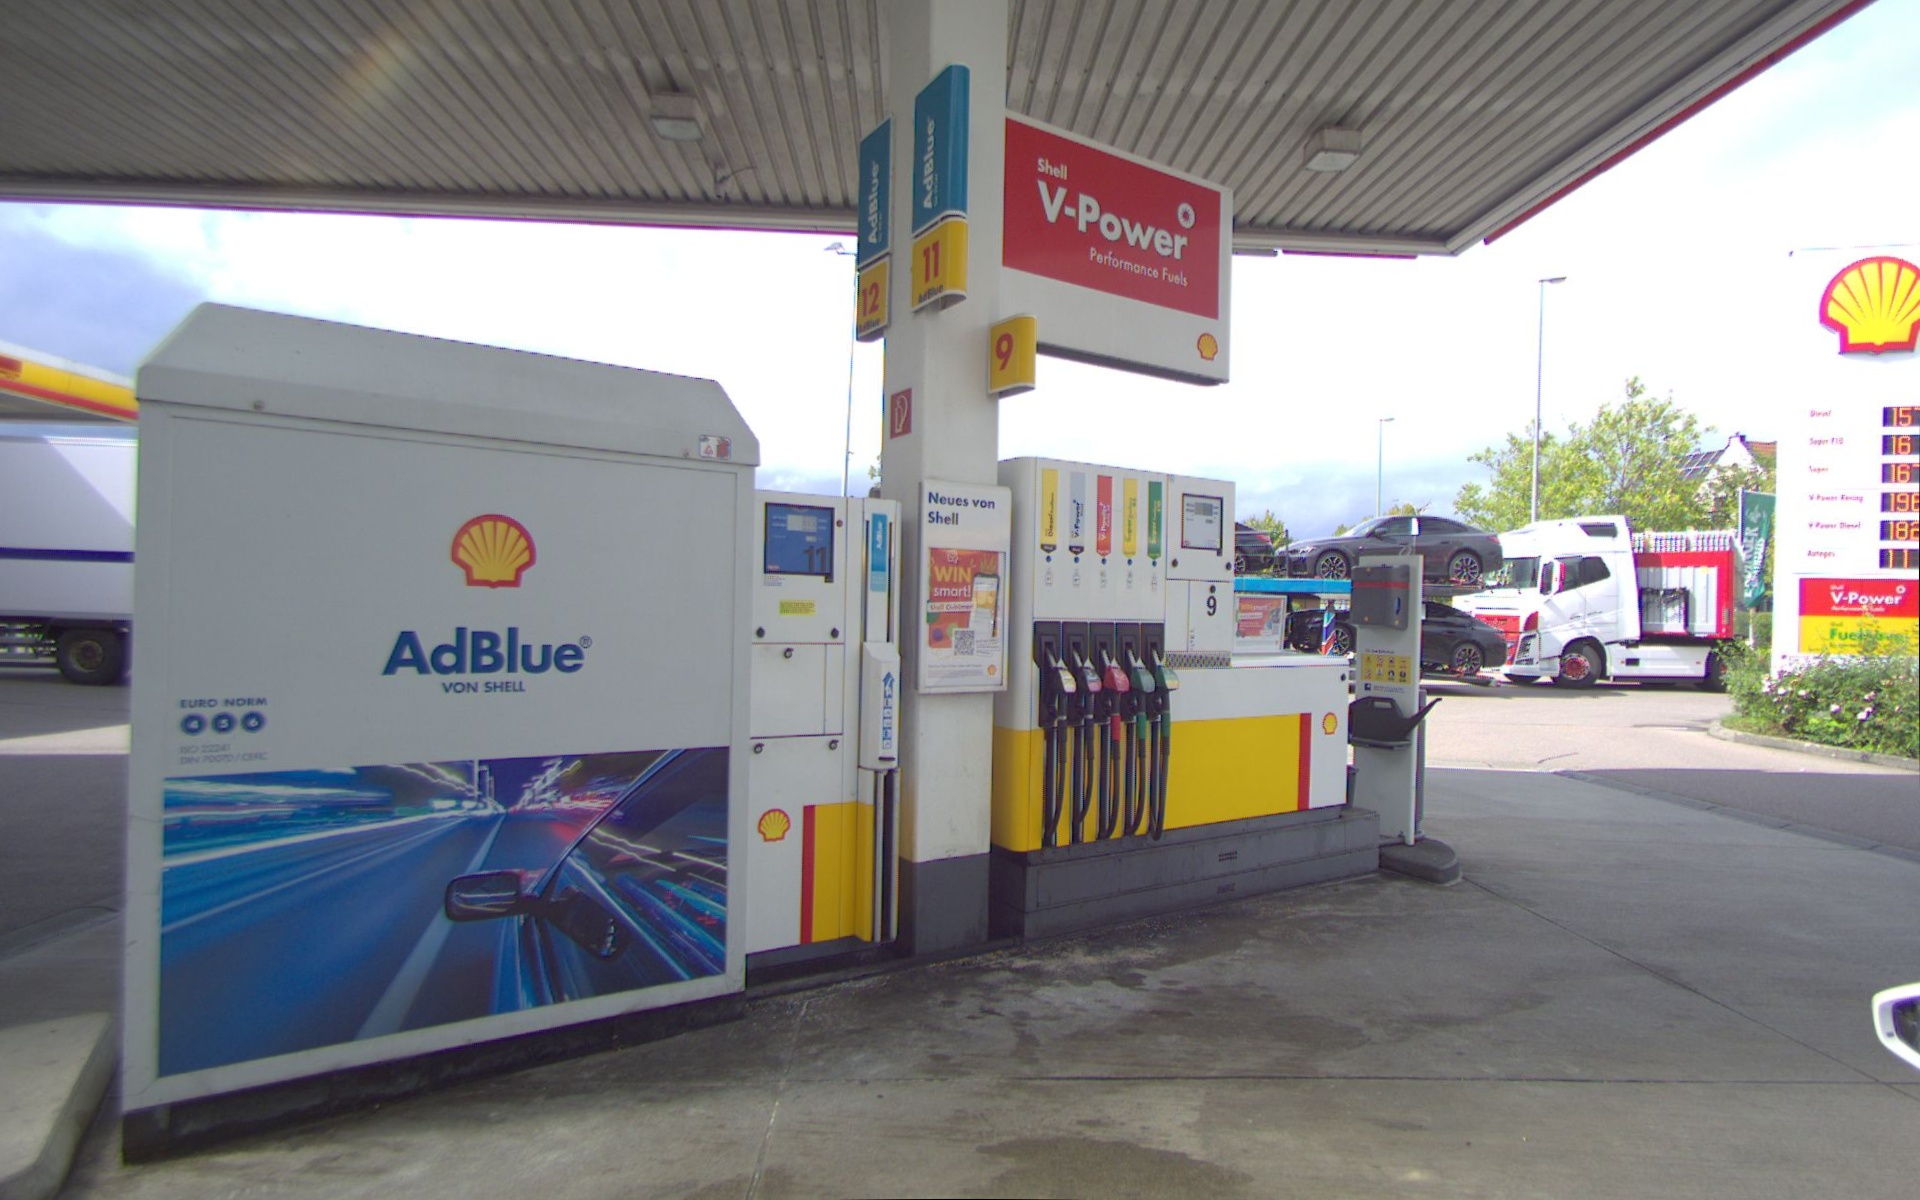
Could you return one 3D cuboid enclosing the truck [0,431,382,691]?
[{"bbox_3d":[-17.293,-0.734,17.496,12.654,4.092,2.534,2,0,-3],"label":"truck"}]

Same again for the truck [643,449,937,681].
[{"bbox_3d":[-3.442,-0.700,21.541,5.713,4.479,2.750,2,0,0],"label":"truck"}]

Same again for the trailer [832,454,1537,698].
[{"bbox_3d":[4.534,-0.465,21.580,14.077,4.481,2.746,2,0,0],"label":"trailer"}]

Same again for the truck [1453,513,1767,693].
[{"bbox_3d":[15.424,0.102,24.106,5.807,3.897,2.739,2,0,-5],"label":"truck"}]

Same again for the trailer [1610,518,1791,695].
[{"bbox_3d":[20.501,0.273,27.349,2.700,3.826,12.645,2,0,42],"label":"trailer"}]
